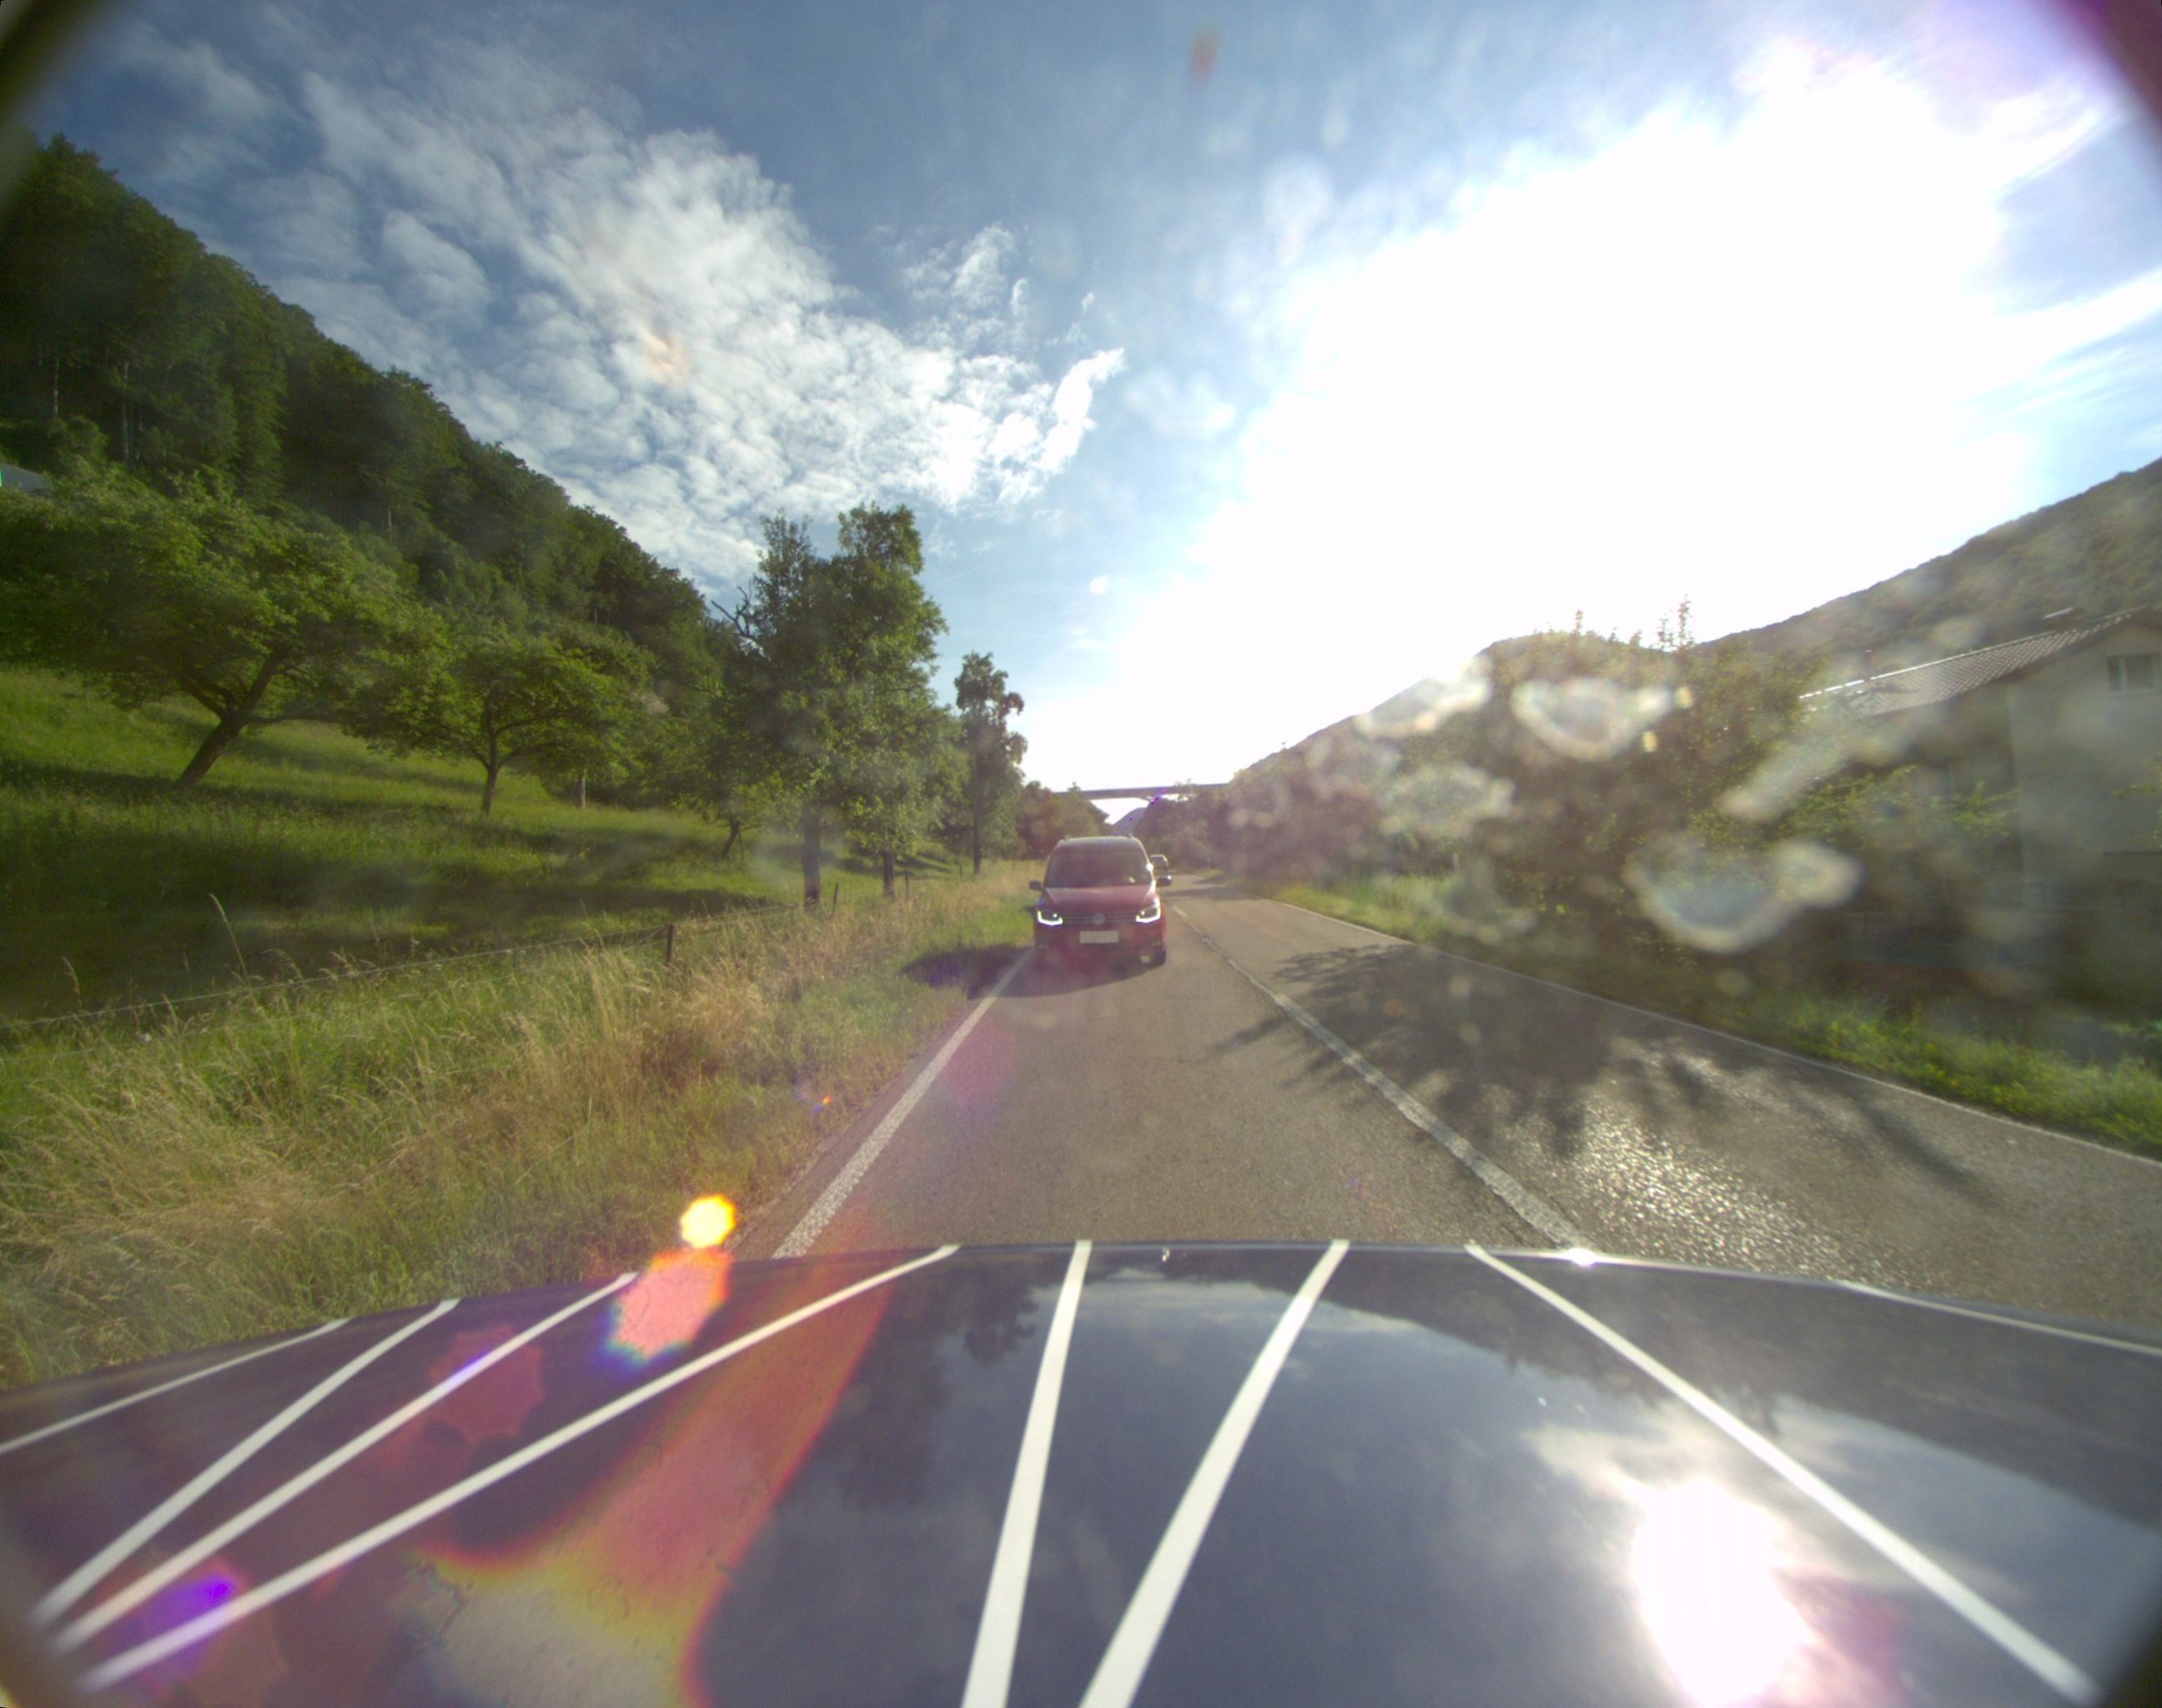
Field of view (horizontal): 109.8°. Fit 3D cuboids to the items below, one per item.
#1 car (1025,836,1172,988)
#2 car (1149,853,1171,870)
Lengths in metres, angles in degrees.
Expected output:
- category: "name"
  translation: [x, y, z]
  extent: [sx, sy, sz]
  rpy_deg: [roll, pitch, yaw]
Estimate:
- category: "car"
  translation: [0.245, 0.699, 11.134]
  extent: [1.741, 1.803, 4.000]
  rpy_deg: [-1, 0, 1]
- category: "car"
  translation: [6.697, 0.613, 64.837]
  extent: [1.696, 1.401, 3.664]
  rpy_deg: [-1, 1, 3]
